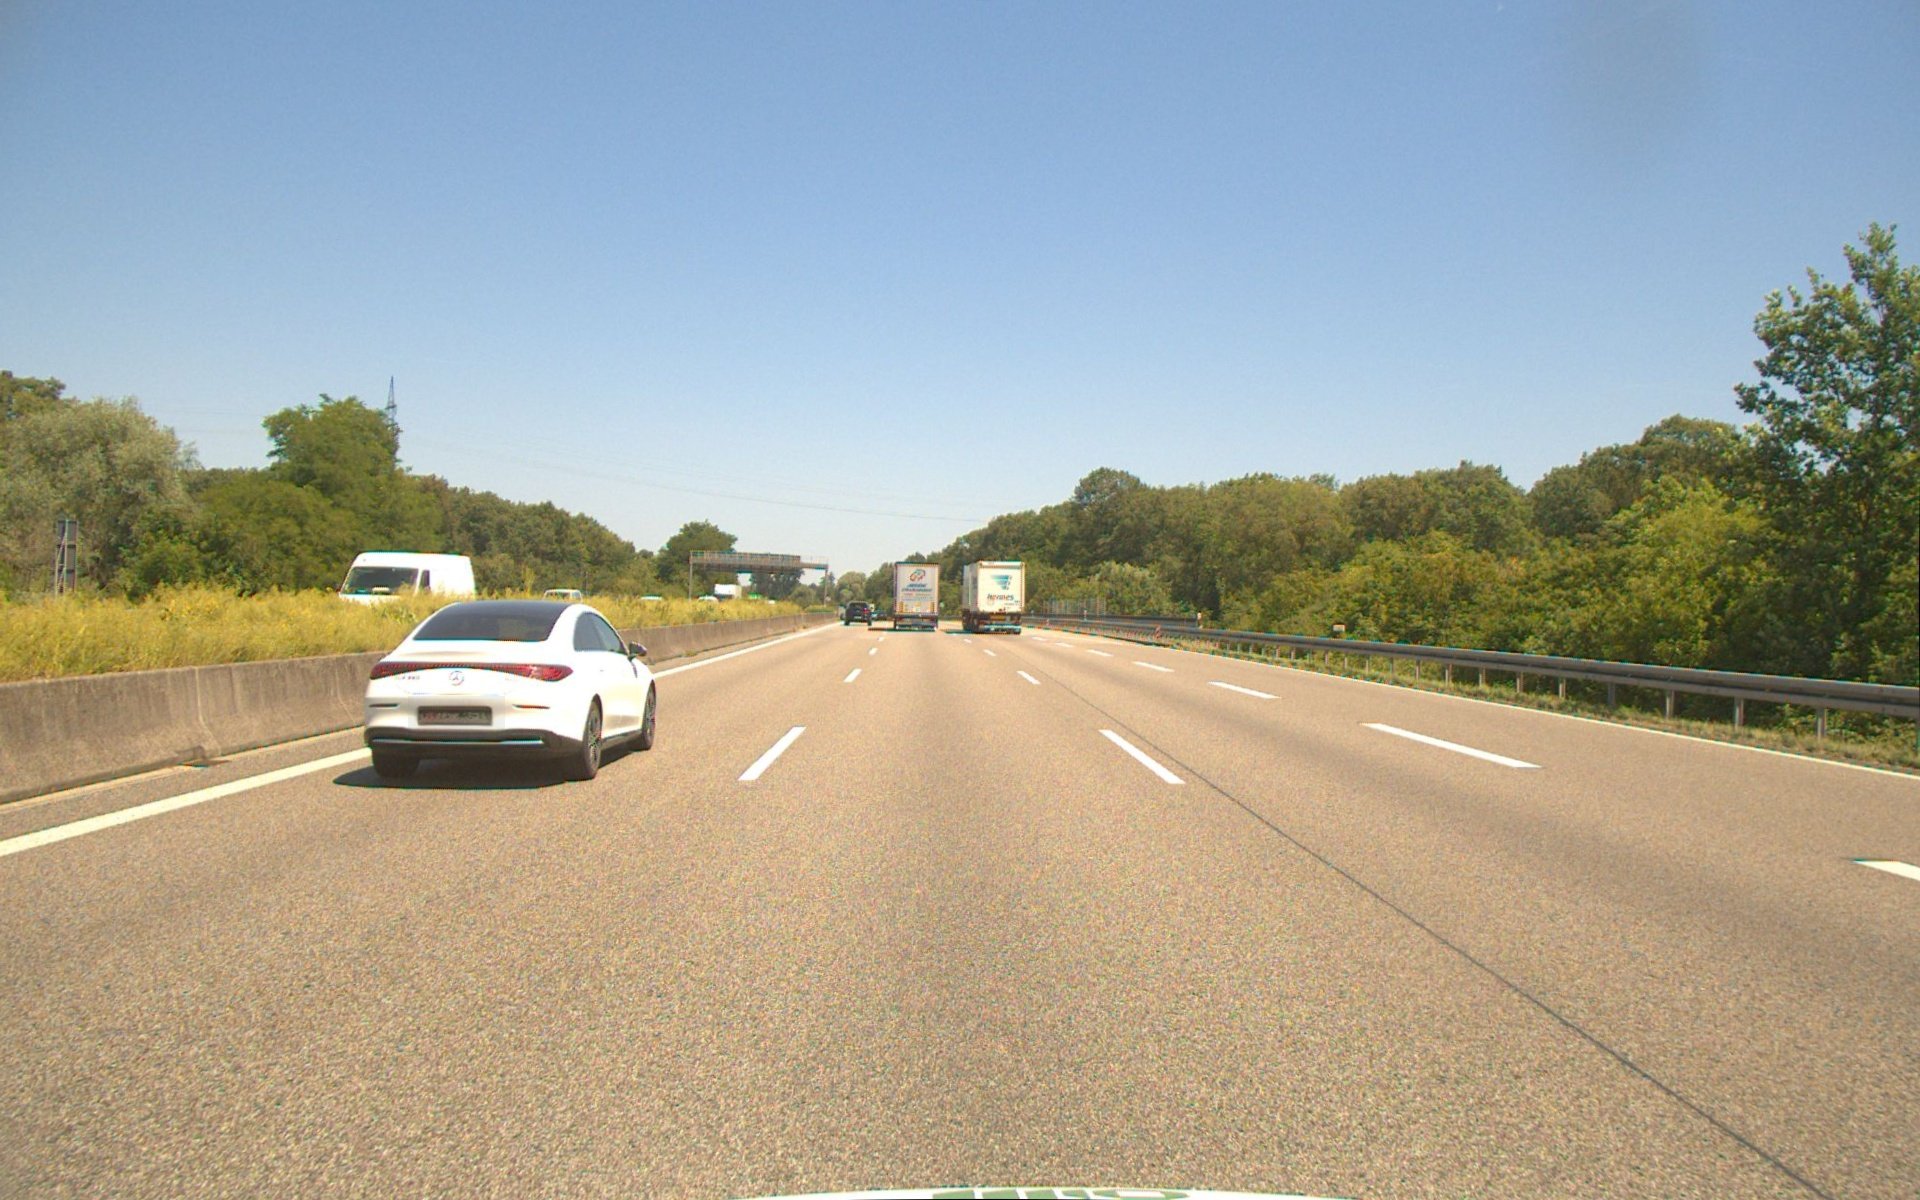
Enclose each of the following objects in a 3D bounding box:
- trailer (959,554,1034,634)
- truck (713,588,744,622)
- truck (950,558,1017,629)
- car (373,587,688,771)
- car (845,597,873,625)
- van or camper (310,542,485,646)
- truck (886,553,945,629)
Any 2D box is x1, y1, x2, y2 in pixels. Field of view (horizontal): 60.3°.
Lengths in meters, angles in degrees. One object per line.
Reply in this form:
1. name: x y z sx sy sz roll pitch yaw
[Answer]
1. trailer: 1.948 -0.388 92.992 3.301 4.215 9.084 1 1 -4
2. truck: -28.964 0.622 207.095 2.987 4.046 8.283 1 0 -3
3. truck: 1.335 -0.451 102.522 3.260 4.123 10.946 1 1 -4
4. car: -3.887 0.636 15.917 1.731 1.474 5.107 0 0 -1
5. car: -7.468 0.781 121.856 1.955 1.907 3.996 1 1 -5
6. van or camper: -14.265 -0.141 42.484 2.204 2.429 6.759 1 0 0
7. truck: -2.716 -0.565 97.962 3.165 4.275 8.460 1 1 -4
